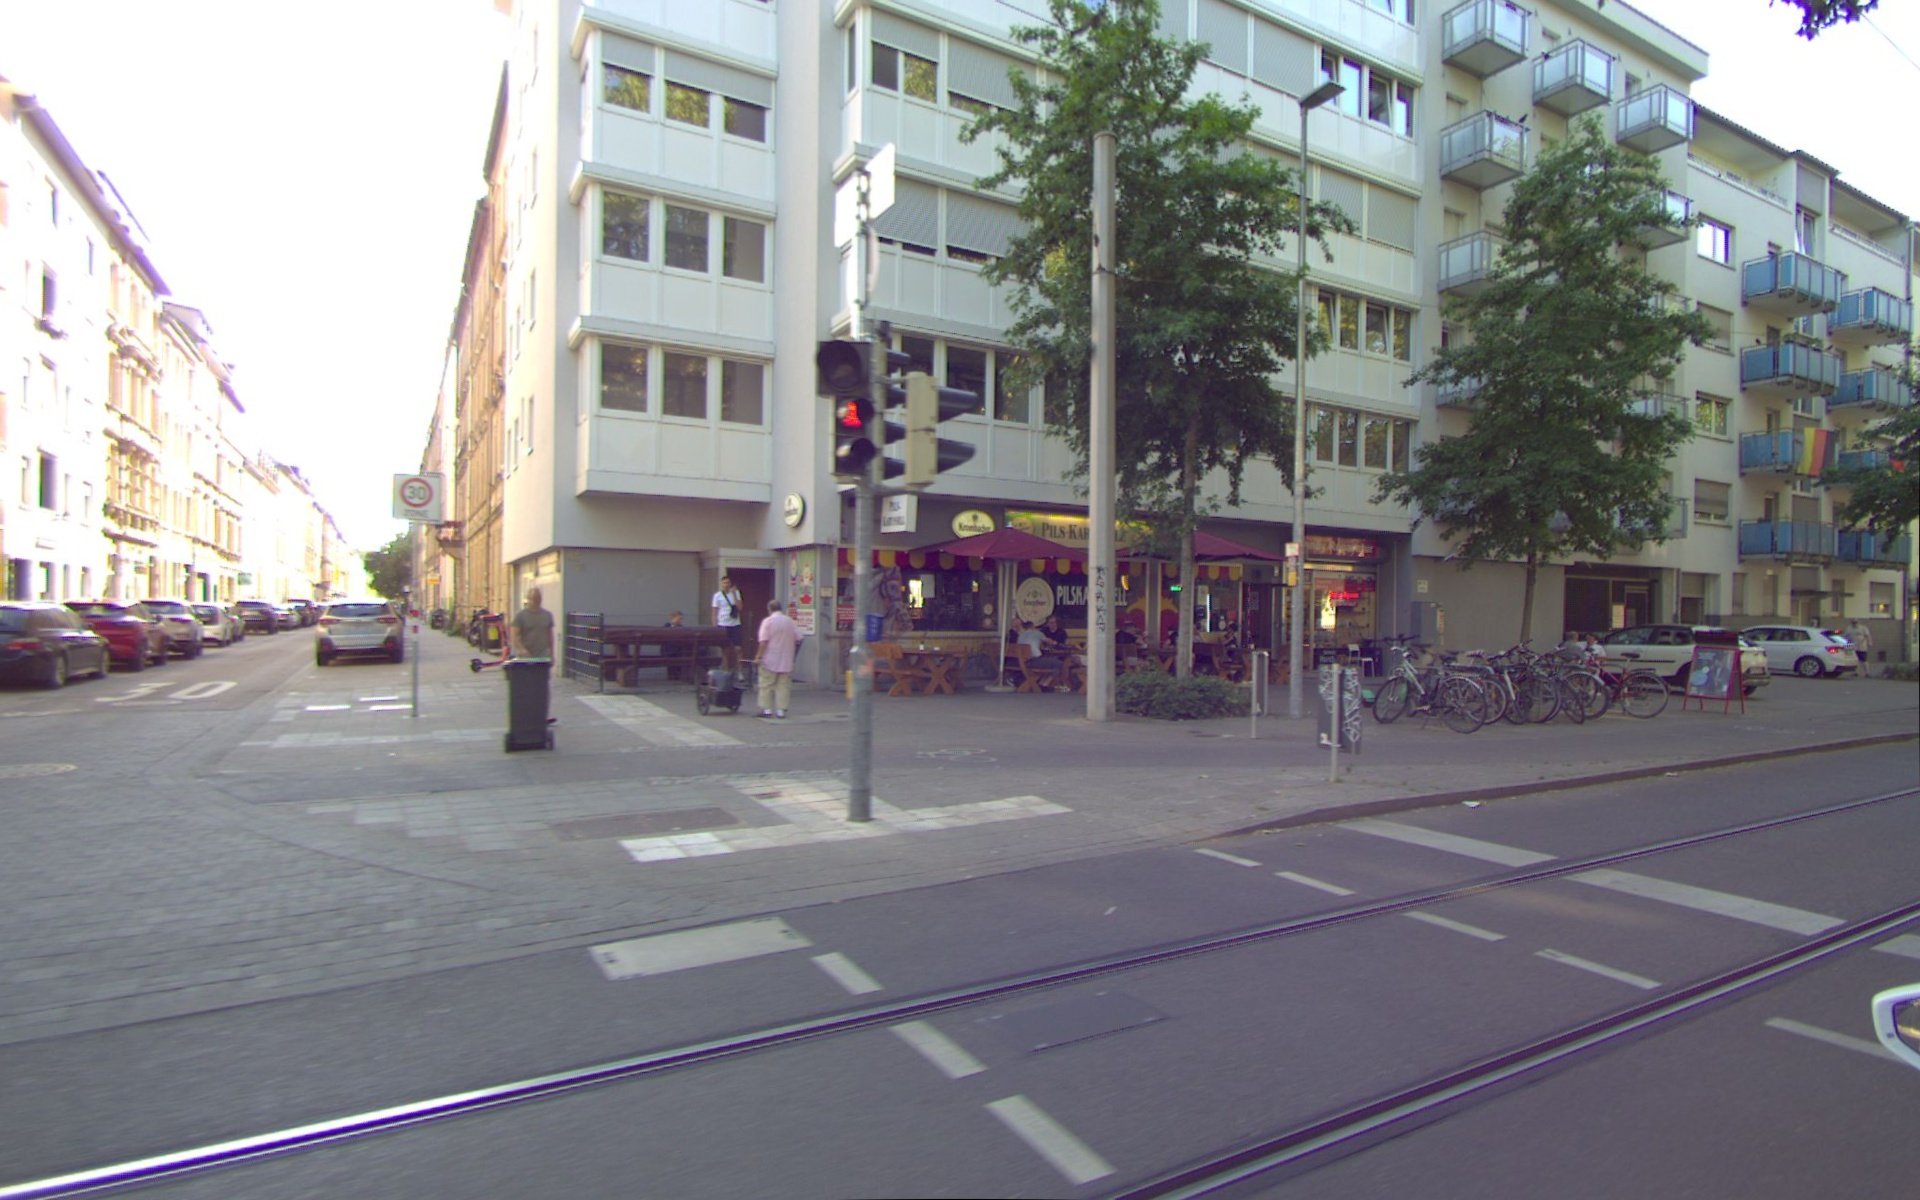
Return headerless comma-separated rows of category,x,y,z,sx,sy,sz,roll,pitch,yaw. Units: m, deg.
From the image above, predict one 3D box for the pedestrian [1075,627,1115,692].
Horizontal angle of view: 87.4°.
pedestrian,2.565,1.119,19.033,0.557,1.214,0.509,1,-1,-28

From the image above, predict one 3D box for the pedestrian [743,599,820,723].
pedestrian,-2.360,0.787,13.278,0.761,1.577,0.720,1,-1,-35

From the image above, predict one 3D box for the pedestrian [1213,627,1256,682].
pedestrian,6.156,1.211,22.521,0.648,1.214,0.669,1,-1,-31

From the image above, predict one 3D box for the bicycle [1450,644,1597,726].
bicycle,8.493,1.255,15.214,0.651,1.078,1.817,2,0,-34

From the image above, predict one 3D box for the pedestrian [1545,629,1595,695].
pedestrian,12.504,1.255,20.582,0.742,1.314,0.705,1,-1,-44

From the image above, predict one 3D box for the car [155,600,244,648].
car,-25.929,0.807,34.361,1.872,1.524,3.753,1,-1,-29

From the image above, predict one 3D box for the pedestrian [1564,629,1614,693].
pedestrian,13.427,1.288,21.441,0.906,1.314,0.705,1,-1,-44

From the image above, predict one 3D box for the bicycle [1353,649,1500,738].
bicycle,6.210,1.207,13.444,0.651,1.020,1.680,2,0,-34

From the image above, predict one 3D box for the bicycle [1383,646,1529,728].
bicycle,7.206,1.229,14.669,0.651,1.020,1.817,2,0,-34

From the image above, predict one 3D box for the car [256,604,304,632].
car,-38.336,1.005,56.691,1.872,1.524,3.753,1,-1,-29

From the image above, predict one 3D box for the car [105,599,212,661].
car,-21.128,0.764,26.623,1.875,1.524,3.746,1,-1,-34

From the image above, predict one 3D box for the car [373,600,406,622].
car,-38.050,0.740,67.046,1.868,1.402,3.969,1,-1,-29

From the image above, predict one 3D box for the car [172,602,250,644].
car,-28.939,0.868,38.924,1.872,1.524,3.753,1,-1,-29

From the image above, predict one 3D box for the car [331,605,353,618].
car,-70.255,1.310,114.264,1.872,1.524,3.753,1,-1,-29

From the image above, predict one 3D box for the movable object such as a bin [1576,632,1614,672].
movable object such as a bin,17.407,1.431,27.559,0.614,1.069,0.675,1,-1,-28

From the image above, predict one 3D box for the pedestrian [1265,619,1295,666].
pedestrian,8.427,1.123,26.422,0.556,1.214,0.510,1,-1,-25

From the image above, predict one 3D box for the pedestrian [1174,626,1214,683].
pedestrian,5.084,1.170,21.834,0.617,1.214,0.559,1,-1,-31

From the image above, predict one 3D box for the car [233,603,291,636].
car,-33.563,0.930,48.379,1.872,1.524,3.753,1,-1,-29

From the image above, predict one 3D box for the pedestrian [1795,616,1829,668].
pedestrian,28.292,1.395,33.373,0.740,1.713,0.660,1,-1,-31

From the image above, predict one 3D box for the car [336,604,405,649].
car,-19.702,0.857,33.691,1.868,1.402,3.969,1,-1,-29

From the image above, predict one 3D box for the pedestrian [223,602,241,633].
pedestrian,-37.113,0.905,51.223,0.658,1.577,0.719,1,-1,-34

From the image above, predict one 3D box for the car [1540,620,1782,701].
car,15.342,1.266,22.205,1.829,1.495,3.995,2,0,-29

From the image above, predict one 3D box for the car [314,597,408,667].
car,-14.957,0.770,25.229,1.868,1.602,3.969,1,-1,-29

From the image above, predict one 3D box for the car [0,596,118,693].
car,-16.394,0.711,17.463,1.872,1.524,4.262,1,-1,-29

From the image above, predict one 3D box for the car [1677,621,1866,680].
car,24.100,1.461,29.968,1.831,1.495,3.990,2,0,-32

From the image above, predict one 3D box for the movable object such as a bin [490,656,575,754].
movable object such as a bin,-4.428,1.066,10.411,0.533,0.944,0.646,0,-1,43

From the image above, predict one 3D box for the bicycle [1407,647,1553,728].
bicycle,7.625,1.247,14.811,0.651,1.020,1.817,2,0,-34

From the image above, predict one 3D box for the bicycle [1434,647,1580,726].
bicycle,8.191,1.265,15.107,0.651,1.020,1.817,2,0,-34

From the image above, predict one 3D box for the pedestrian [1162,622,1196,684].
pedestrian,4.422,1.057,20.263,0.504,1.214,0.562,0,-1,31

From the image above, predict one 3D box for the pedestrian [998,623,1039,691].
pedestrian,1.065,1.032,18.300,0.506,1.214,0.560,0,-1,44

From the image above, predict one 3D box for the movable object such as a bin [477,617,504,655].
movable object such as a bin,-13.424,1.026,28.712,0.640,1.071,0.538,1,-1,-20

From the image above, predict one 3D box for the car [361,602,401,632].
car,-32.762,0.966,56.938,1.868,1.602,3.969,1,-1,-29

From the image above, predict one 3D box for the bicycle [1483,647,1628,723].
bicycle,9.208,1.285,15.597,0.651,1.020,1.817,2,0,-34

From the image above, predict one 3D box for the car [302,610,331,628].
car,-56.023,1.645,87.536,1.872,1.524,3.753,1,-1,-29

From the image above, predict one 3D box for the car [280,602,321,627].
car,-42.455,0.909,64.730,1.872,1.524,3.753,1,-1,-29

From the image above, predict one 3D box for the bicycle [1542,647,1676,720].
bicycle,10.409,1.319,16.168,0.651,1.020,1.680,2,0,-34

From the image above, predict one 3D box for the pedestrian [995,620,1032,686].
pedestrian,1.021,0.995,19.091,0.553,1.214,0.513,0,-1,25

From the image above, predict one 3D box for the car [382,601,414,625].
car,-39.617,0.914,70.855,1.868,1.602,3.969,1,-1,-29

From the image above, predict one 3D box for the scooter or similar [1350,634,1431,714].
scooter or similar,6.891,1.170,16.105,0.492,1.192,1.074,2,0,-31

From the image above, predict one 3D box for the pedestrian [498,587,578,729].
pedestrian,-5.277,0.707,12.558,0.761,1.693,0.752,1,-1,-35

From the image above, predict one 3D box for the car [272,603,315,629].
car,-40.378,0.958,60.917,1.872,1.524,3.753,1,-1,-29

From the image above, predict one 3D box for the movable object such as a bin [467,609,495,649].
movable object such as a bin,-15.826,0.933,33.167,0.702,1.267,2.101,1,-1,-28

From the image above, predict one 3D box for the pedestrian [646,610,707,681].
pedestrian,-5.156,0.819,18.304,0.736,1.258,0.768,0,-1,27

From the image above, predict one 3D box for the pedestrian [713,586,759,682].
pedestrian,-4.034,0.611,18.083,0.756,1.681,0.747,1,-1,-15

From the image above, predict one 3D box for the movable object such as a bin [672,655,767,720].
movable object such as a bin,-3.294,1.173,13.724,1.178,0.767,0.663,2,0,39

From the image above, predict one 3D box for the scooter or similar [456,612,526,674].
scooter or similar,-9.902,0.897,21.240,0.489,1.276,1.306,0,-1,24

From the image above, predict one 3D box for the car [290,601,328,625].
car,-44.264,0.867,68.335,1.872,1.524,3.753,1,-1,-29

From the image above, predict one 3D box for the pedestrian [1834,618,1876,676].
pedestrian,27.118,1.424,30.440,0.786,1.713,0.759,1,-1,-31

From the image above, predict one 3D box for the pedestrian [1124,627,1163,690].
pedestrian,3.642,1.150,19.902,0.591,1.214,0.691,0,-1,25

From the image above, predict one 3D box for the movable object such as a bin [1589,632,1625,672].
movable object such as a bin,17.953,1.437,27.877,0.567,1.069,0.670,1,-1,-28

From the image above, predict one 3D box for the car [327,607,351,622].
car,-63.900,1.464,103.395,1.872,1.524,3.753,1,-1,-29

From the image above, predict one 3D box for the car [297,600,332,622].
car,-46.326,0.818,72.143,1.872,1.524,3.753,1,-1,-29

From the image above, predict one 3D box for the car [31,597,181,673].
car,-18.765,0.740,22.263,1.783,1.524,3.753,1,-1,-29
